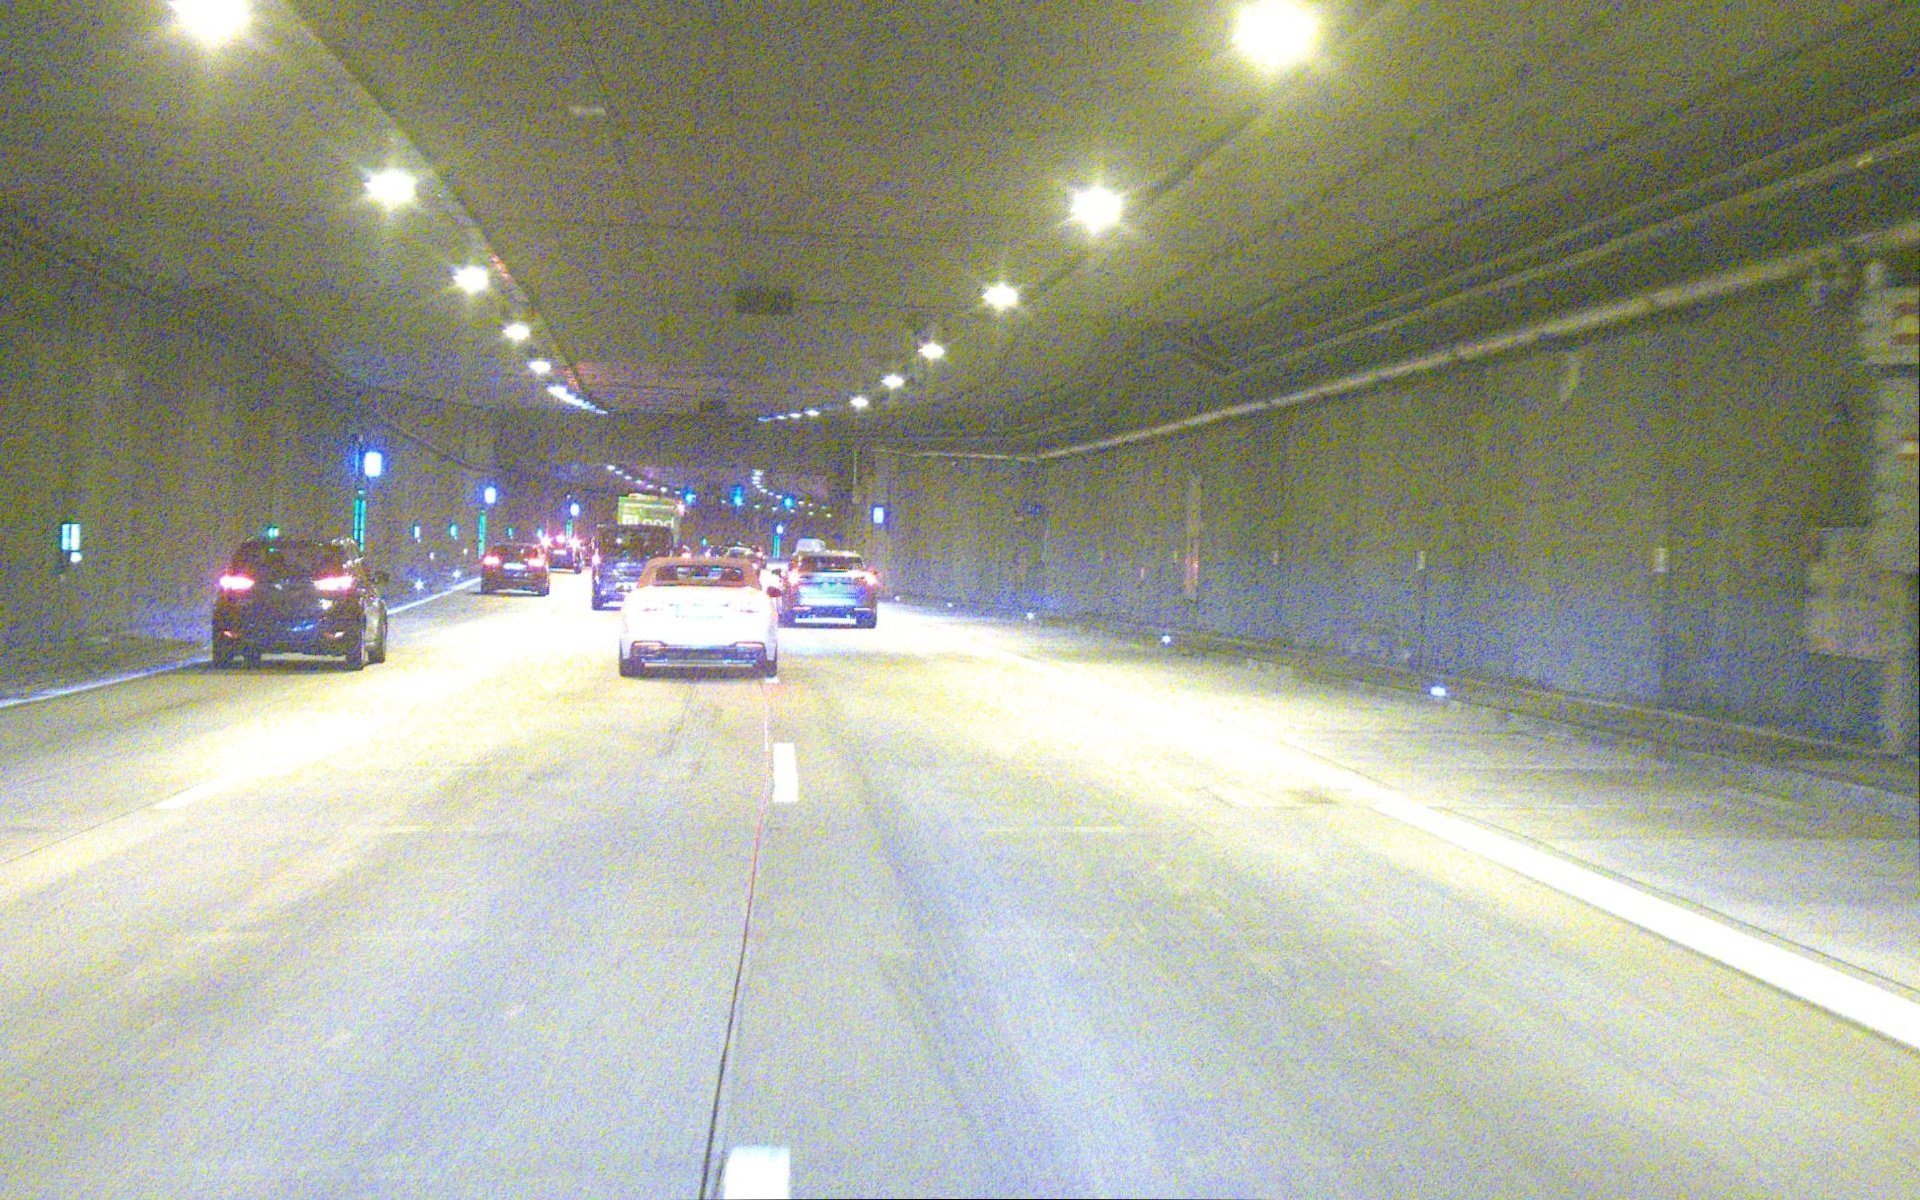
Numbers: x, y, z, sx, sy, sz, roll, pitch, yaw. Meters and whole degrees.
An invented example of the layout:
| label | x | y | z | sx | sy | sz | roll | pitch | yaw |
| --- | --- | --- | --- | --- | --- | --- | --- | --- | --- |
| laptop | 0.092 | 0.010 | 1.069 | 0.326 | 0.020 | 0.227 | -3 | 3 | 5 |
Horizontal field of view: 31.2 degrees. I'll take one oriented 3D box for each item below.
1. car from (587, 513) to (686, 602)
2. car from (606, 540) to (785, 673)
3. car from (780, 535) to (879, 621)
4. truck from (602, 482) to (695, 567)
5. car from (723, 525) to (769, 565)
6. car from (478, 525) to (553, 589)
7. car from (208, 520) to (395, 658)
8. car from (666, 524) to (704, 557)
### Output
| label | x | y | z | sx | sy | sz | roll | pitch | yaw |
| --- | --- | --- | --- | --- | --- | --- | --- | --- | --- |
| car | -7.343 | -0.960 | 78.384 | 1.993 | 1.965 | 4.000 | 0 | 1 | -2 |
| car | -3.120 | 0.042 | 40.476 | 1.993 | 1.478 | 4.001 | 0 | 1 | -5 |
| car | -2.485 | -0.432 | 66.141 | 1.839 | 1.597 | 4.000 | 0 | 1 | -1 |
| truck | -12.020 | -2.963 | 133.426 | 3.082 | 3.102 | 10.031 | 1 | 2 | -2 |
| car | -9.747 | -2.482 | 156.272 | 1.993 | 1.748 | 4.001 | 1 | 0 | -5 |
| car | -11.906 | -1.153 | 92.261 | 1.800 | 1.678 | 4.001 | 0 | 1 | -5 |
| car | -7.945 | -0.163 | 41.761 | 1.785 | 1.593 | 3.802 | 0 | 1 | -4 |
| car | -15.036 | -3.251 | 187.801 | 1.993 | 1.748 | 4.001 | 1 | 1 | -5 |
